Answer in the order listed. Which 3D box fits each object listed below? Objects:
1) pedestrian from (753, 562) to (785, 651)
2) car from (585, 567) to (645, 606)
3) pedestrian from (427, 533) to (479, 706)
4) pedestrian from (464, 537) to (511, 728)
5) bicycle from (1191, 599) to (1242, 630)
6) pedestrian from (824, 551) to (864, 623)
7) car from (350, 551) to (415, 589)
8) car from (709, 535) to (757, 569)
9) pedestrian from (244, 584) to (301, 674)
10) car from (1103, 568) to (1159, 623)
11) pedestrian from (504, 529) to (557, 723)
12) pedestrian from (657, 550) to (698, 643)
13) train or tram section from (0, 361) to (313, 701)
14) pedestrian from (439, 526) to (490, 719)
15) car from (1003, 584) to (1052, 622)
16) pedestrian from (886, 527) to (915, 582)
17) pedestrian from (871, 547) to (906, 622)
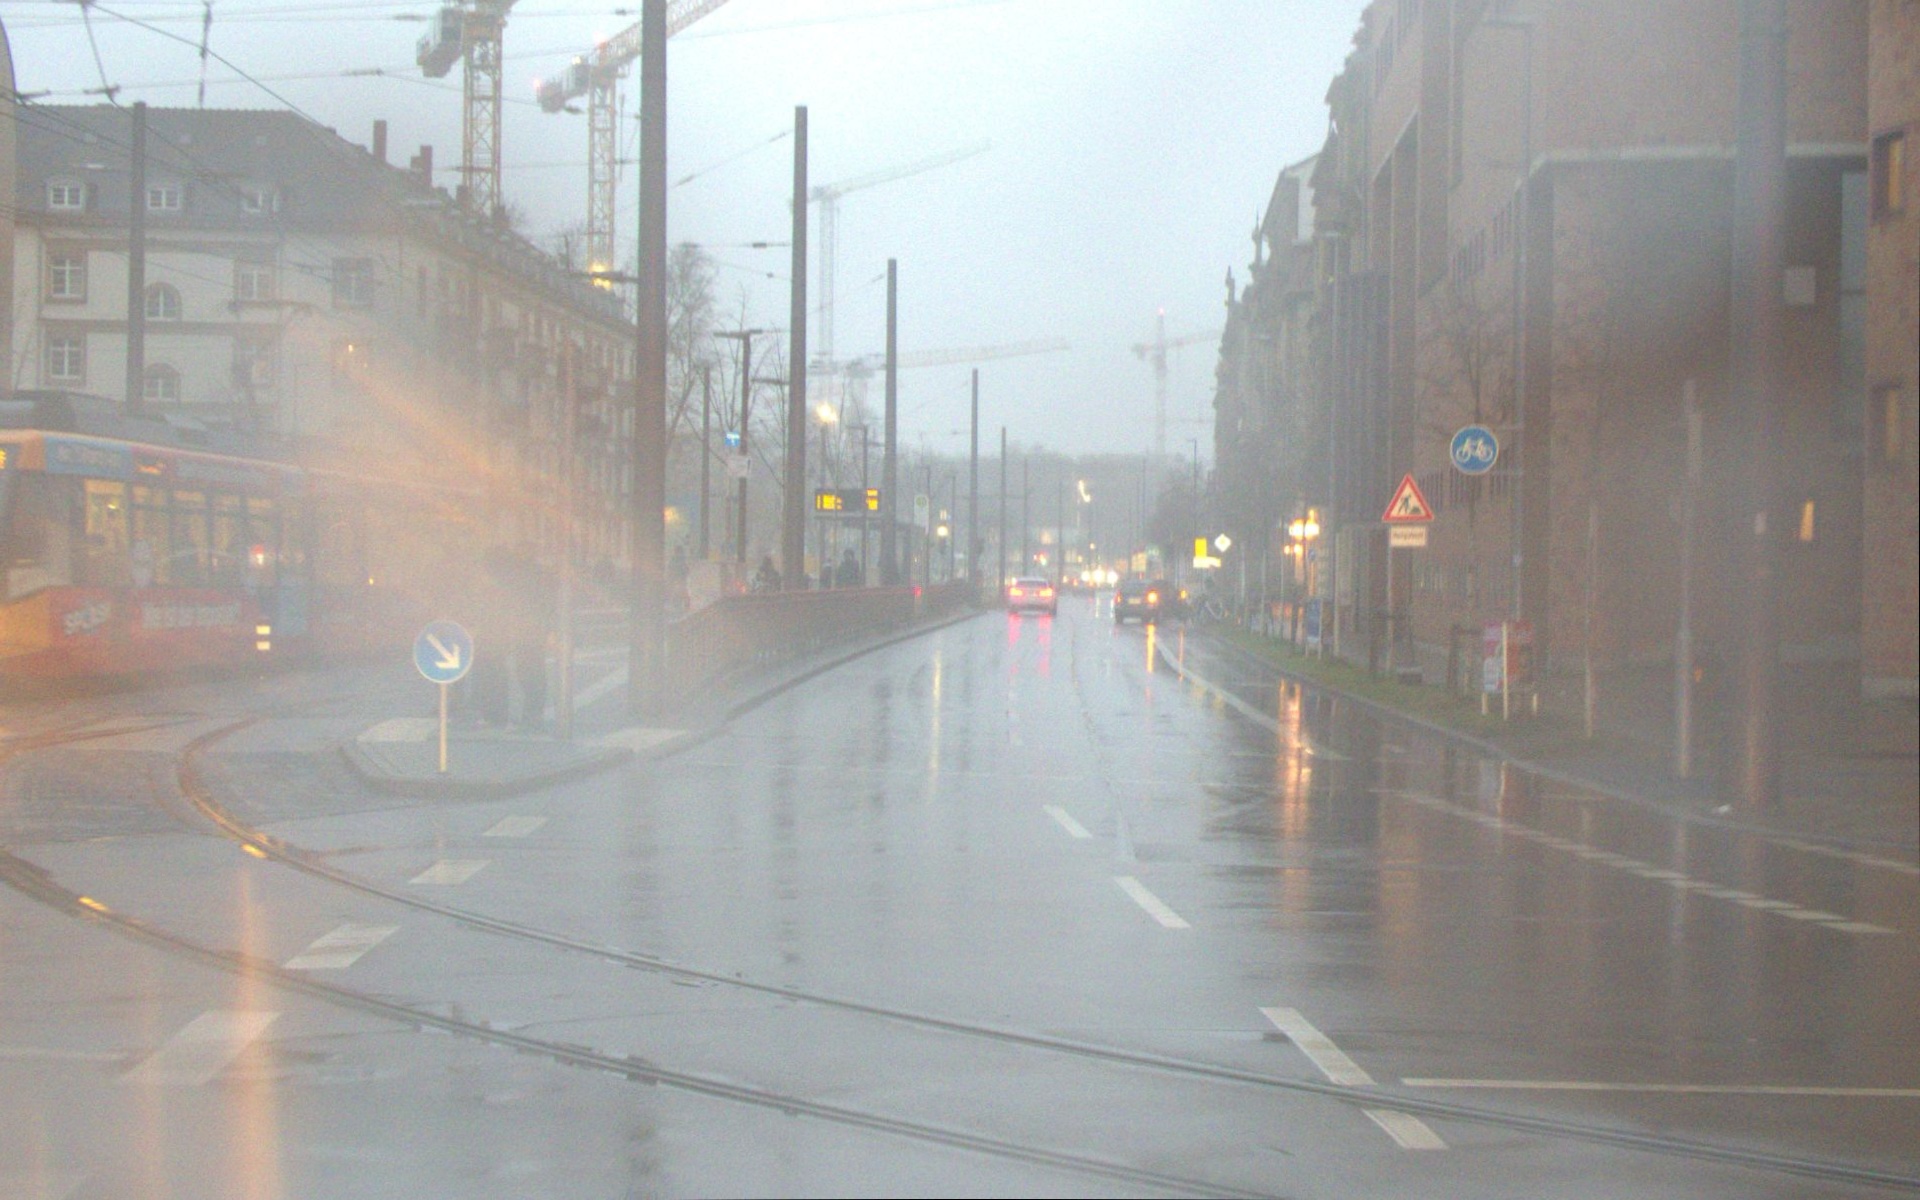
[{"bbox_3d":[-3.639,0.119,65.589,0.540,1.686,0.643,1,0,0],"label":"pedestrian"},{"bbox_3d":[-12.494,-0.488,124.690,1.682,1.349,3.546,2,0,2],"label":"car"},{"bbox_3d":[-5.123,0.191,34.748,0.433,1.729,0.473,1,0,-2],"label":"pedestrian"},{"bbox_3d":[-4.471,0.304,32.527,0.359,1.780,0.440,1,0,-2],"label":"pedestrian"},{"bbox_3d":[8.813,0.497,118.136,1.730,1.051,0.371,0,0,2],"label":"bicycle"},{"bbox_3d":[-2.802,-0.317,82.906,0.776,1.698,0.773,1,0,-16],"label":"pedestrian"},{"bbox_3d":[-21.480,-1.118,128.008,1.682,1.349,3.546,2,0,2],"label":"car"},{"bbox_3d":[-9.673,-2.048,146.778,1.682,1.349,3.546,2,0,2],"label":"car"},{"bbox_3d":[-9.092,0.381,45.481,0.580,1.148,0.490,2,0,4],"label":"pedestrian"},{"bbox_3d":[6.423,-0.200,128.743,1.994,2.007,3.999,1,1,4],"label":"car"},{"bbox_3d":[-4.130,0.241,33.056,0.412,1.839,0.670,1,0,-2],"label":"pedestrian"},{"bbox_3d":[-4.867,-0.064,59.253,0.618,1.584,0.622,1,0,0],"label":"pedestrian"},{"bbox_3d":[-10.995,-0.832,42.583,2.950,3.577,12.254,2,1,3],"label":"train or tram section"},{"bbox_3d":[-5.083,0.229,35.255,0.433,1.960,0.473,1,0,-2],"label":"pedestrian"},{"bbox_3d":[2.701,0.099,136.986,1.784,1.462,3.148,1,1,4],"label":"car"},{"bbox_3d":[-1.663,-1.267,95.383,0.679,1.511,0.619,2,0,-10],"label":"pedestrian"},{"bbox_3d":[-1.853,-0.407,89.164,0.809,1.941,0.804,1,1,3],"label":"pedestrian"}]
